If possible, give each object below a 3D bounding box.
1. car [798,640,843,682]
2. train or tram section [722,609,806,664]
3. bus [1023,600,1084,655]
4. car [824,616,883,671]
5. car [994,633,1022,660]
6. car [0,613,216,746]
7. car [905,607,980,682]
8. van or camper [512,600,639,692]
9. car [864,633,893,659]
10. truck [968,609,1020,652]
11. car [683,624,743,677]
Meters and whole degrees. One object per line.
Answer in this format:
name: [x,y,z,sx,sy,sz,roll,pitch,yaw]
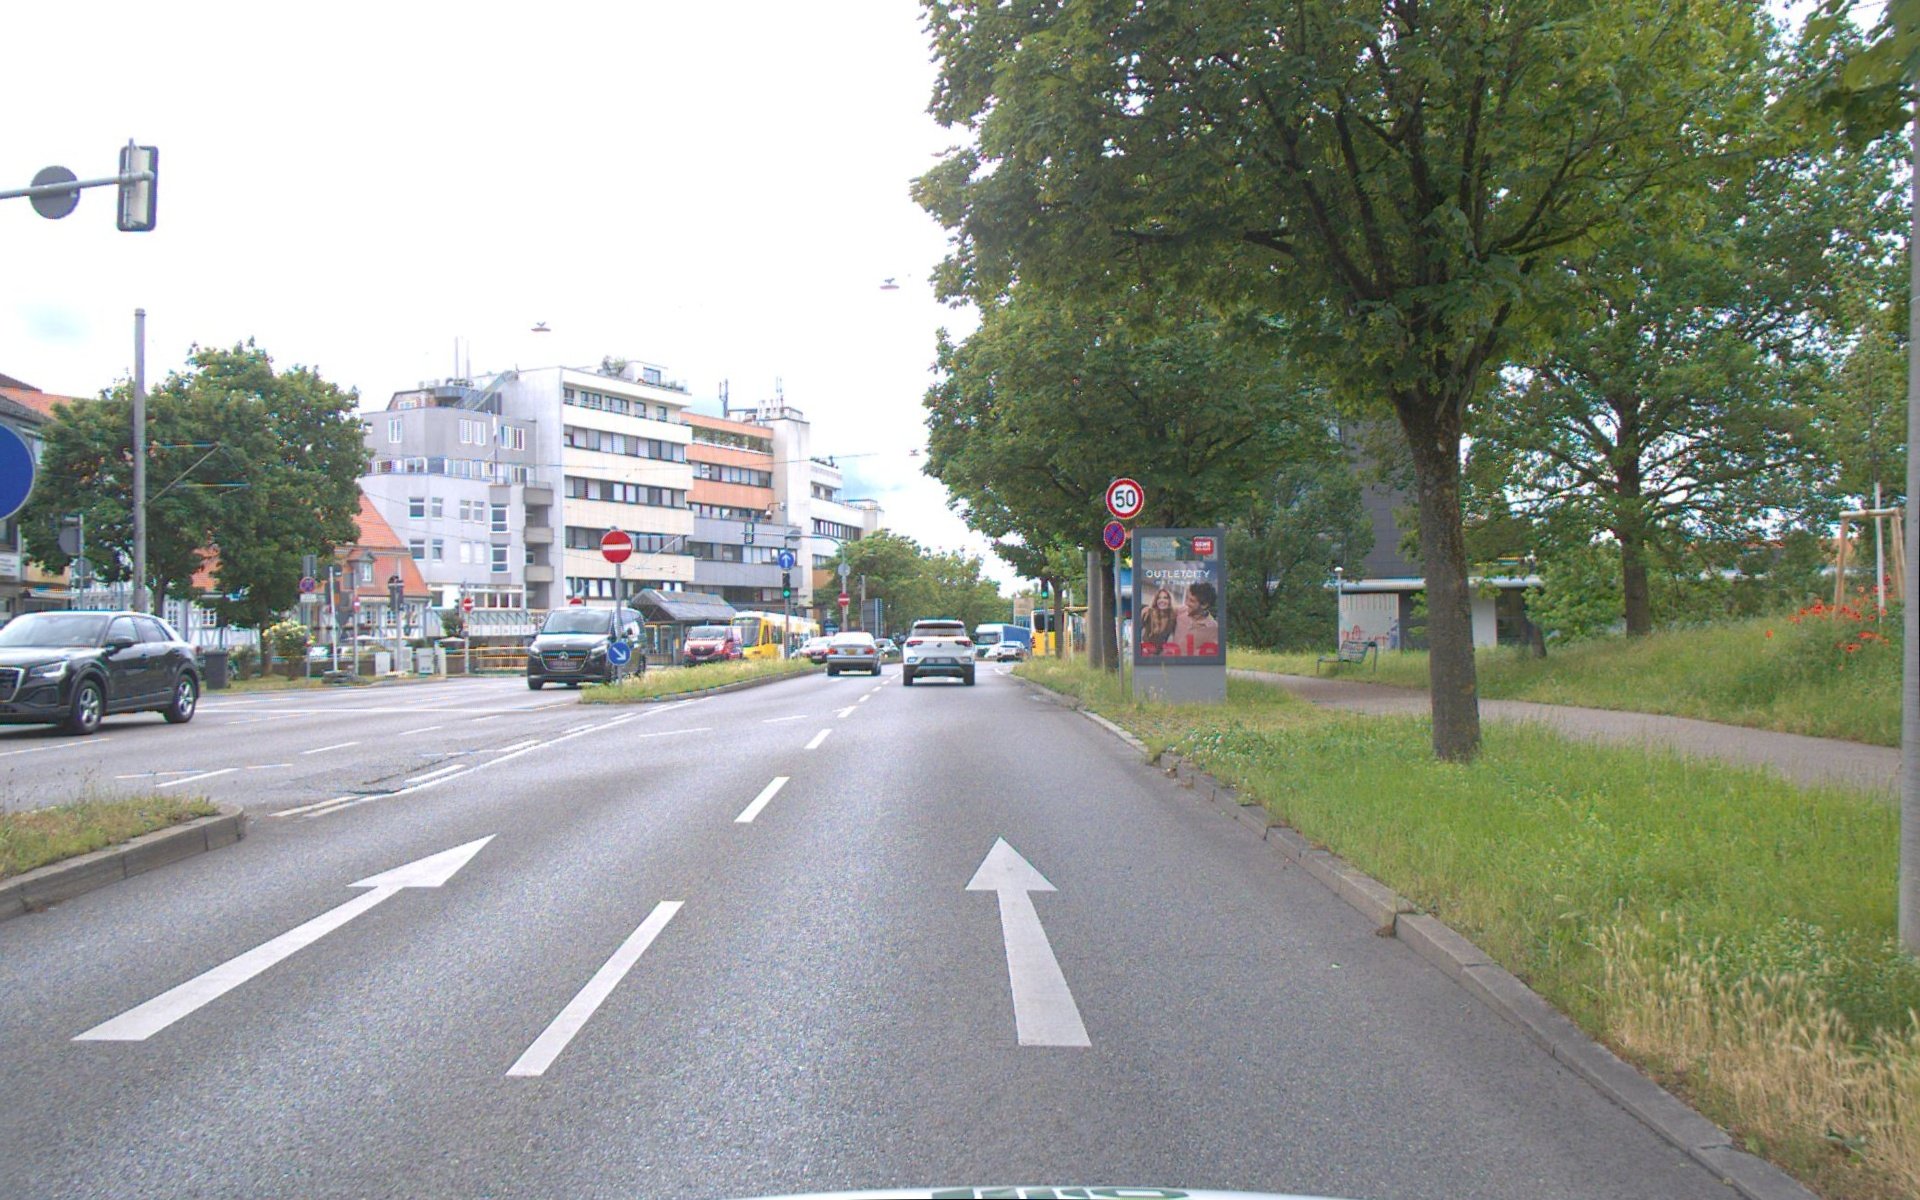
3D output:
car: [-7.130,3.088,84.937,1.953,1.617,4.837,1,4,0]
train or tram section: [-13.125,2.503,112.217,2.505,3.471,13.090,-1,-2,7]
bus: [5.922,1.723,103.317,2.891,3.246,9.935,-1,-1,8]
car: [-3.422,1.379,53.700,1.665,1.542,3.737,-1,2,0]
car: [3.288,3.221,114.008,1.734,1.598,4.285,-1,1,-1]
car: [-11.131,0.926,20.721,1.823,1.453,3.999,-1,0,-1]
car: [-0.392,1.066,40.909,1.664,1.575,3.737,2,2,1]
van or camper: [-8.822,1.036,38.382,1.888,1.972,5.246,0,-1,-2]
car: [-4.935,2.819,100.605,1.581,1.471,3.652,-1,-2,0]
truck: [3.533,3.075,166.442,2.891,4.151,16.614,-1,-1,9]
car: [-10.869,2.187,73.149,1.953,2.048,4.835,1,1,0]
